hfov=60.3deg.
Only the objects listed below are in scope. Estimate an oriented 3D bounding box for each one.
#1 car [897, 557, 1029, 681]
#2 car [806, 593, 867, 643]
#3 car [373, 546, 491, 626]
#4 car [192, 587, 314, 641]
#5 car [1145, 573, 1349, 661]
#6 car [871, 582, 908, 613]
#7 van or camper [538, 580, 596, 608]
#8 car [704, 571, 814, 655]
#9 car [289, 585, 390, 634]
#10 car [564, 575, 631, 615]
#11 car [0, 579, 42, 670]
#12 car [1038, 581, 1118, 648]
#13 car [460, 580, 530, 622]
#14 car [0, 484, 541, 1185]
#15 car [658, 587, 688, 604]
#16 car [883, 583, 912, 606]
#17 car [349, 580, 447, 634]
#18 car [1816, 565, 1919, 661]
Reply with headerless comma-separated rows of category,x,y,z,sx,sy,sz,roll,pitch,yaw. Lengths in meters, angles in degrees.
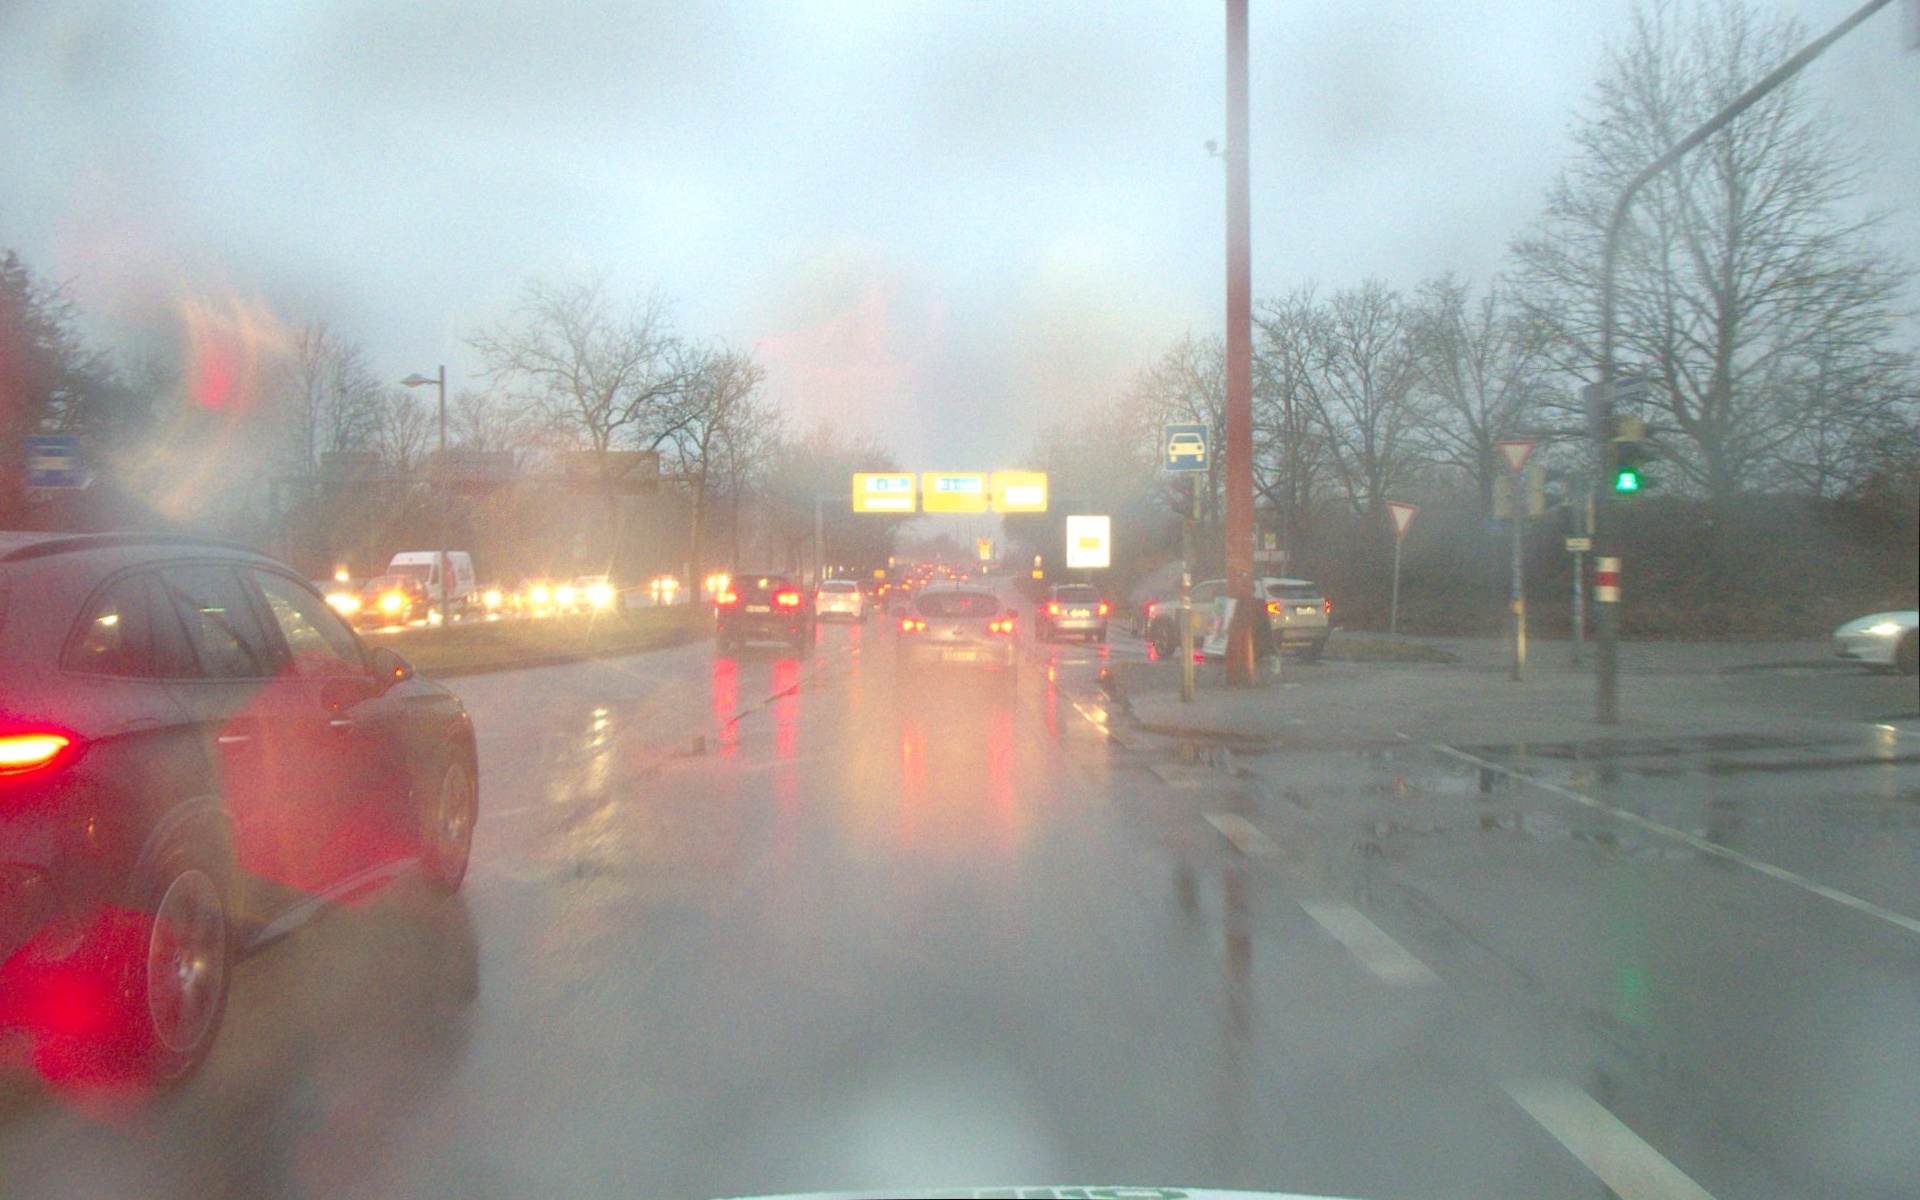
car,0.062,0.235,24.687,1.785,1.676,4.467,0,1,1
car,-4.326,0.607,58.461,1.785,1.676,4.000,0,0,1
car,-21.428,-0.538,67.509,2.244,3.057,7.348,1,0,1
car,-21.300,0.392,50.045,1.734,1.515,4.649,0,1,-1
car,5.644,0.296,33.083,1.794,1.646,4.372,0,0,-27
car,-3.217,-0.139,75.738,1.474,1.362,4.000,0,0,1
van or camper,-21.185,-0.320,89.298,1.865,1.472,5.158,0,0,0
car,-4.186,0.246,34.943,1.785,1.676,4.000,0,0,1
car,-21.294,0.291,56.963,1.733,1.563,4.447,0,1,1
car,-14.793,-0.227,67.742,1.734,1.563,4.840,0,1,-1
car,-18.082,0.454,28.814,1.819,1.626,4.287,0,1,-1
car,3.158,0.374,45.054,1.893,1.677,4.466,1,0,1
car,-20.818,0.027,74.167,1.759,1.688,4.003,1,2,4
car,-3.053,0.544,6.188,1.785,1.676,4.467,0,0,1
car,-26.376,-0.454,152.268,1.952,1.503,4.073,1,1,1
car,-4.167,-0.389,110.839,1.785,1.530,4.000,0,0,1
car,-17.663,0.175,52.176,1.734,1.614,4.033,0,1,-1
car,15.631,0.181,24.763,4.638,1.400,1.884,0,0,9
